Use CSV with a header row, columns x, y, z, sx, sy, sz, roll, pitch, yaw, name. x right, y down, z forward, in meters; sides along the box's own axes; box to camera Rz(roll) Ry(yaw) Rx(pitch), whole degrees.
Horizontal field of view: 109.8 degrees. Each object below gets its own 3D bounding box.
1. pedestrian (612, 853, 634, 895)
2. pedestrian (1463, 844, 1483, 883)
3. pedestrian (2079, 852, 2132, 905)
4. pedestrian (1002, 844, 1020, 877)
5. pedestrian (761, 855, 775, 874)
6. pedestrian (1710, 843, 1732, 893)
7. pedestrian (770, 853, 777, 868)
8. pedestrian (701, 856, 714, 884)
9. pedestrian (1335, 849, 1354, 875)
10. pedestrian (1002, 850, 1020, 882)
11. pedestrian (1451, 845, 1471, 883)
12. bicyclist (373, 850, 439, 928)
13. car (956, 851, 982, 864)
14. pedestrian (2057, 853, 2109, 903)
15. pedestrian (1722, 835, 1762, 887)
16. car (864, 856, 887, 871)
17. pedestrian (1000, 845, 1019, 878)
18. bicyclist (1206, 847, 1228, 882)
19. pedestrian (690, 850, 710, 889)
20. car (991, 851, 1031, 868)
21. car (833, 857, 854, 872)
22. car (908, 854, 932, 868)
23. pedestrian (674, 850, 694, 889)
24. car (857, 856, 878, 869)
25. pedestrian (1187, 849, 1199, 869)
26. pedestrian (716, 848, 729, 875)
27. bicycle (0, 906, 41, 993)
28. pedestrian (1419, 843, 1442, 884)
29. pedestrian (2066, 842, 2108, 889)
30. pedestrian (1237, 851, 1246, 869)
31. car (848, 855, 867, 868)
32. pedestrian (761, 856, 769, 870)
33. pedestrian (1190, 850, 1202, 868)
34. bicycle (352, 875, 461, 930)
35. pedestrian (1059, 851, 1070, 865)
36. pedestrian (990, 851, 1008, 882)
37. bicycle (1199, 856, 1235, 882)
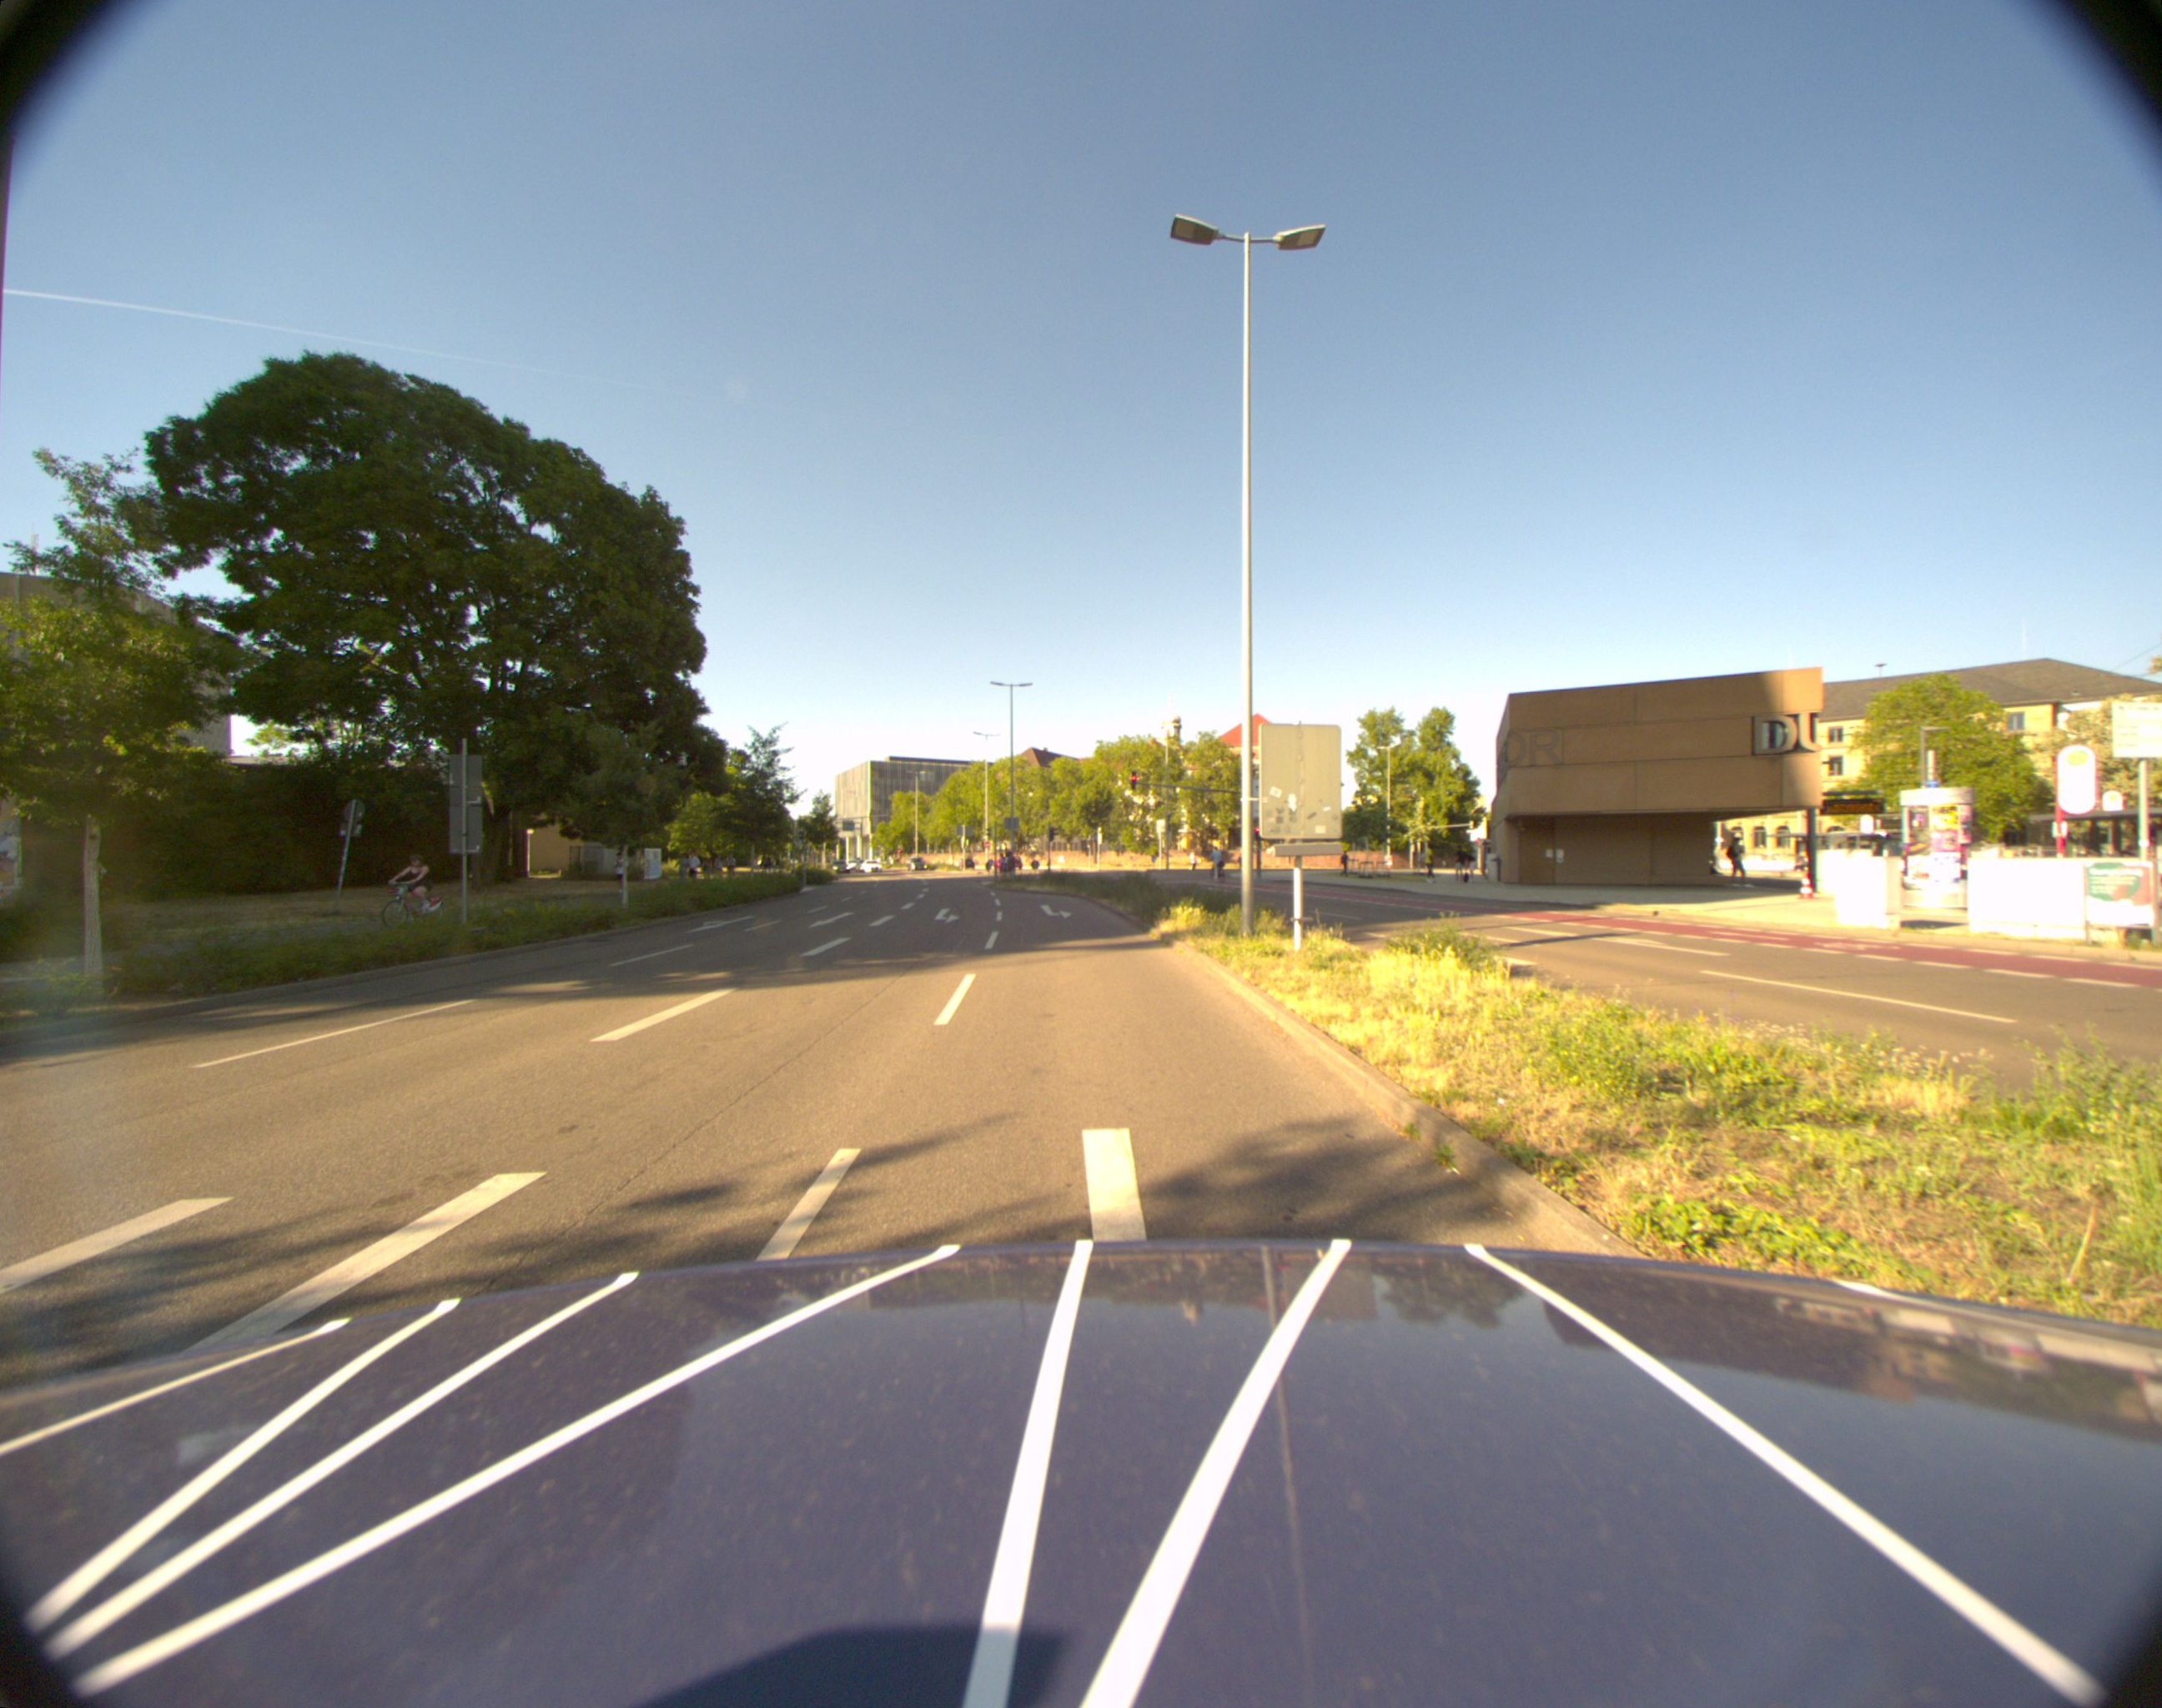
x,y,z,sx,sy,sz,roll,pitch,yaw,name
-18.641,0.822,30.954,0.623,1.689,0.629,0,1,-17,pedestrian
17.929,0.436,34.774,0.734,1.720,0.666,-2,-1,25,pedestrian
39.247,0.930,29.111,0.978,1.970,0.720,1,0,28,pedestrian
-3.706,0.328,40.169,0.928,1.731,0.756,0,1,-10,pedestrian
-28.592,0.986,69.395,1.020,1.739,0.847,0,0,-31,pedestrian
26.519,0.583,31.504,0.613,2.001,0.809,-2,-1,37,pedestrian
-34.381,0.740,84.901,0.713,1.703,0.732,0,1,-25,pedestrian
-21.096,0.886,42.922,0.623,1.565,0.638,0,1,-25,pedestrian
16.790,0.511,48.440,0.900,1.675,0.747,0,0,-10,pedestrian
-3.834,0.674,41.754,0.928,1.731,0.787,0,1,-10,pedestrian
17.070,0.451,34.146,0.638,1.678,0.551,-2,-1,14,pedestrian
-15.909,0.798,17.934,0.717,1.778,0.849,-2,1,-1,bicyclist
-14.457,0.465,97.969,2.198,1.576,4.597,-1,0,-24,car
40.278,0.944,30.551,0.994,1.970,0.831,1,0,28,pedestrian
25.471,0.280,29.292,0.978,1.970,0.720,1,0,26,pedestrian
-22.258,1.005,82.207,1.805,1.510,4.423,0,0,-22,car
-3.844,0.395,40.920,0.928,1.731,0.756,0,1,-10,pedestrian
7.164,0.522,40.026,0.743,1.821,1.012,-1,1,-18,bicyclist
-18.605,0.748,37.129,0.575,1.858,0.624,0,1,26,pedestrian
-7.407,0.573,79.994,2.199,1.576,4.596,0,-2,-34,car
-24.880,1.041,79.628,1.805,1.510,3.992,0,0,-22,car
-17.773,0.712,83.923,1.927,1.510,4.010,0,0,-22,car
-19.313,0.751,36.996,0.575,1.858,0.624,0,1,26,pedestrian
-25.029,0.949,88.992,1.927,1.510,4.010,0,0,-22,car
10.795,0.470,73.257,0.873,1.884,0.711,0,4,-12,pedestrian
-23.209,0.483,49.128,0.677,1.694,0.875,0,1,-30,pedestrian
-14.285,1.231,9.230,0.719,1.114,1.869,-1,-1,1,bicycle
15.999,0.442,34.778,0.718,1.824,0.639,-1,-1,1,pedestrian
42.544,0.467,32.154,0.814,1.970,0.756,1,0,29,pedestrian
15.043,0.562,71.197,0.791,1.644,0.713,2,4,17,pedestrian
-27.973,0.950,94.994,1.927,1.510,4.010,0,0,-22,car
-36.777,1.044,88.482,0.764,1.534,0.845,0,0,-31,pedestrian
10.880,0.509,72.028,0.873,1.665,0.711,0,4,-12,pedestrian
-15.905,1.109,18.009,0.719,1.115,2.066,-2,1,-1,bicycle
-1.968,0.464,89.245,0.975,1.528,0.921,-1,1,-25,pedestrian
-4.620,0.710,42.612,0.928,1.731,0.756,0,1,-10,pedestrian
7.162,0.766,40.057,0.743,1.248,2.552,-1,1,-18,bicycle
